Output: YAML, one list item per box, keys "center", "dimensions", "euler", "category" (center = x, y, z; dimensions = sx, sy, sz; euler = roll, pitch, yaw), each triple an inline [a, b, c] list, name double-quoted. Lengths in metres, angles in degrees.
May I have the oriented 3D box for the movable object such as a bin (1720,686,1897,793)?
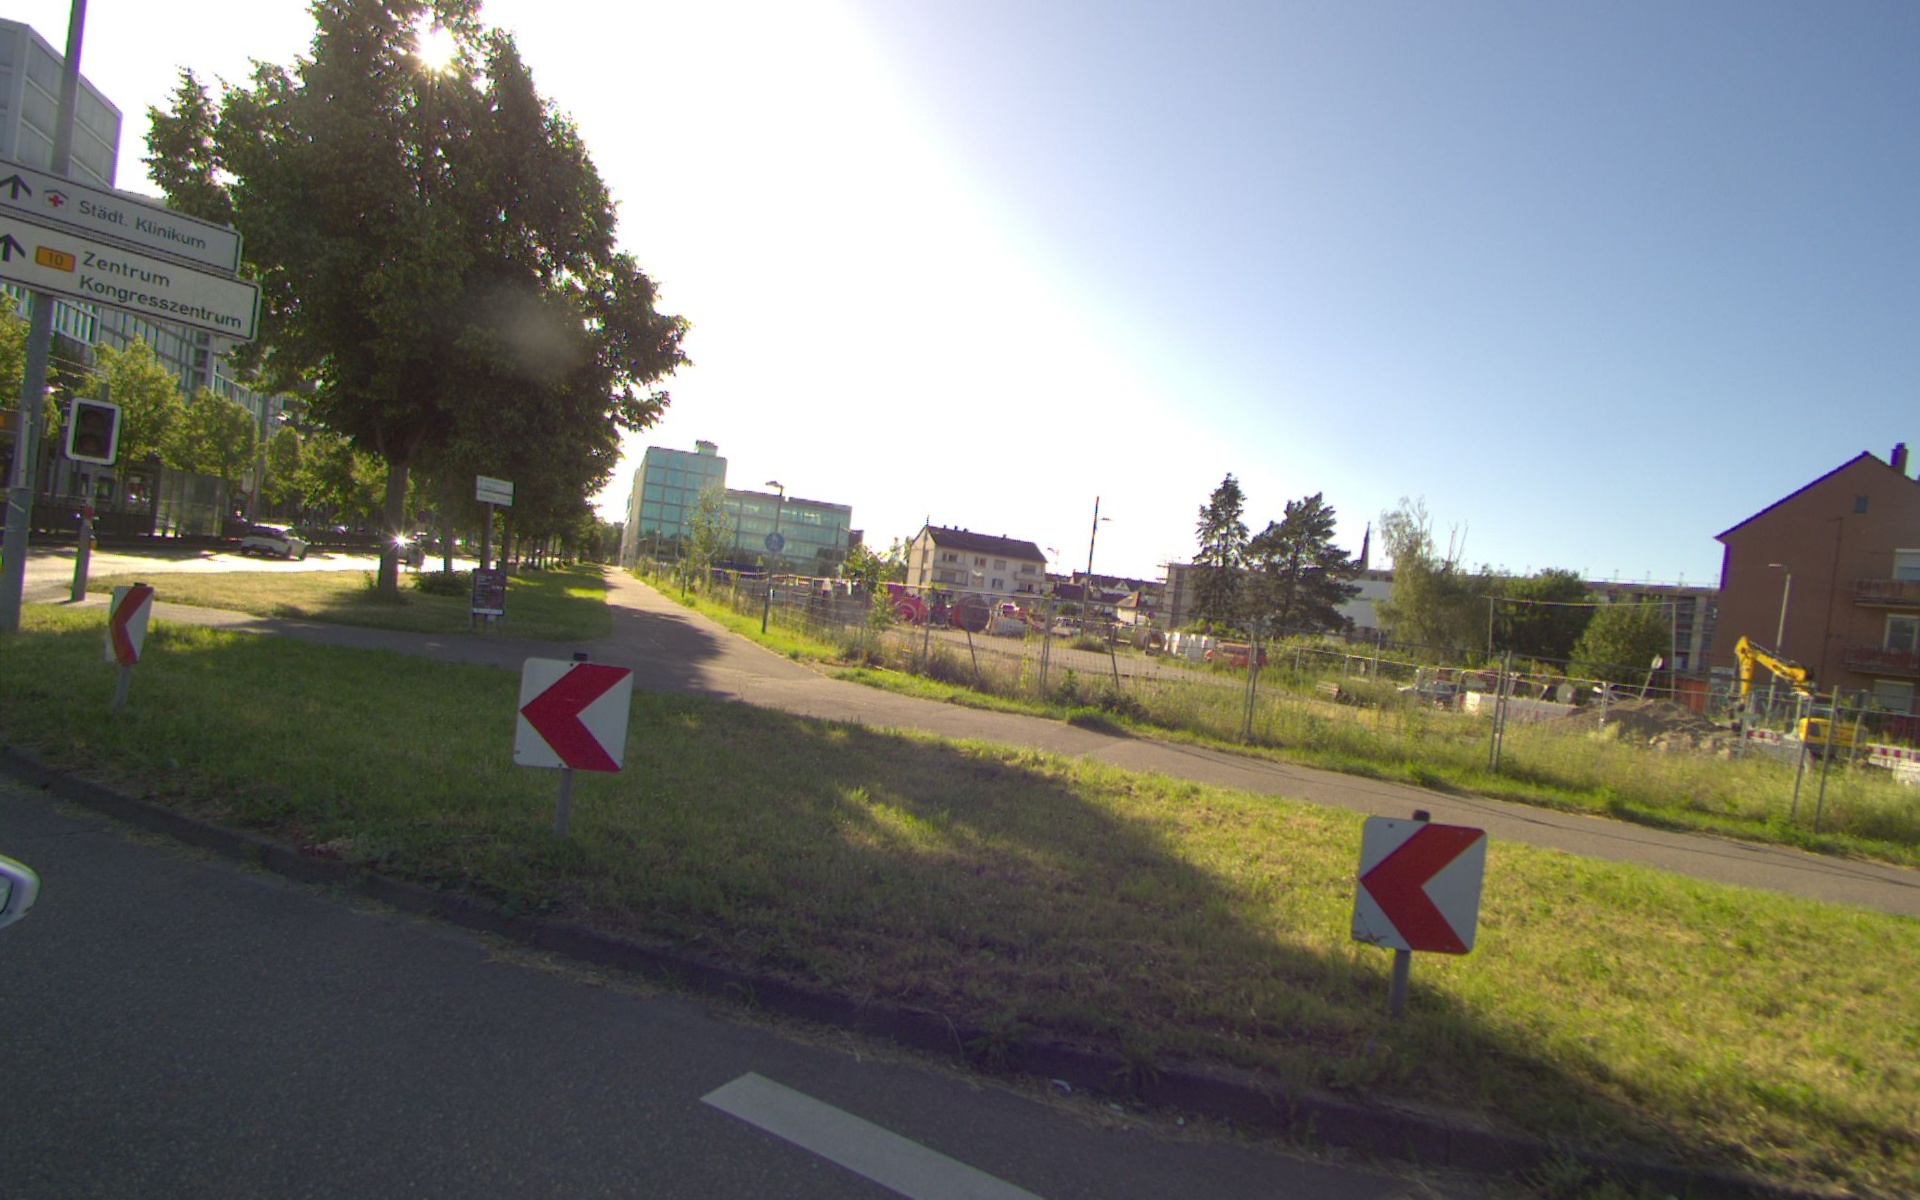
- center: [28.320, 4.574, 33.788]
  dimensions: [2.381, 2.806, 4.003]
  euler: [9, 0, 6]
  category: "movable object such as a bin"

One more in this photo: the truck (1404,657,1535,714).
- center: [26.877, 4.454, 53.401]
  dimensions: [2.140, 2.037, 6.412]
  euler: [9, -1, -17]
  category: "truck"

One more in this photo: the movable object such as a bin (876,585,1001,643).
- center: [-1.475, 0.955, 68.675]
  dimensions: [7.816, 2.817, 2.932]
  euler: [8, 0, -18]
  category: "movable object such as a bin"

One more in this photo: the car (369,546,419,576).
- center: [-36.139, -2.501, 64.331]
  dimensions: [1.972, 1.594, 4.387]
  euler: [7, 0, -20]
  category: "car"

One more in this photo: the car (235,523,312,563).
- center: [-30.847, -2.527, 45.304]
  dimensions: [1.784, 1.478, 3.793]
  euler: [9, -1, -19]
  category: "car"

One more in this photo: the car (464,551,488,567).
- center: [-55.512, -4.708, 115.464]
  dimensions: [1.972, 1.594, 4.386]
  euler: [7, 0, -21]
  category: "car"

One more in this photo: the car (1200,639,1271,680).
- center: [18.362, 3.915, 67.235]
  dimensions: [1.976, 2.037, 4.472]
  euler: [9, -1, -24]
  category: "car"
